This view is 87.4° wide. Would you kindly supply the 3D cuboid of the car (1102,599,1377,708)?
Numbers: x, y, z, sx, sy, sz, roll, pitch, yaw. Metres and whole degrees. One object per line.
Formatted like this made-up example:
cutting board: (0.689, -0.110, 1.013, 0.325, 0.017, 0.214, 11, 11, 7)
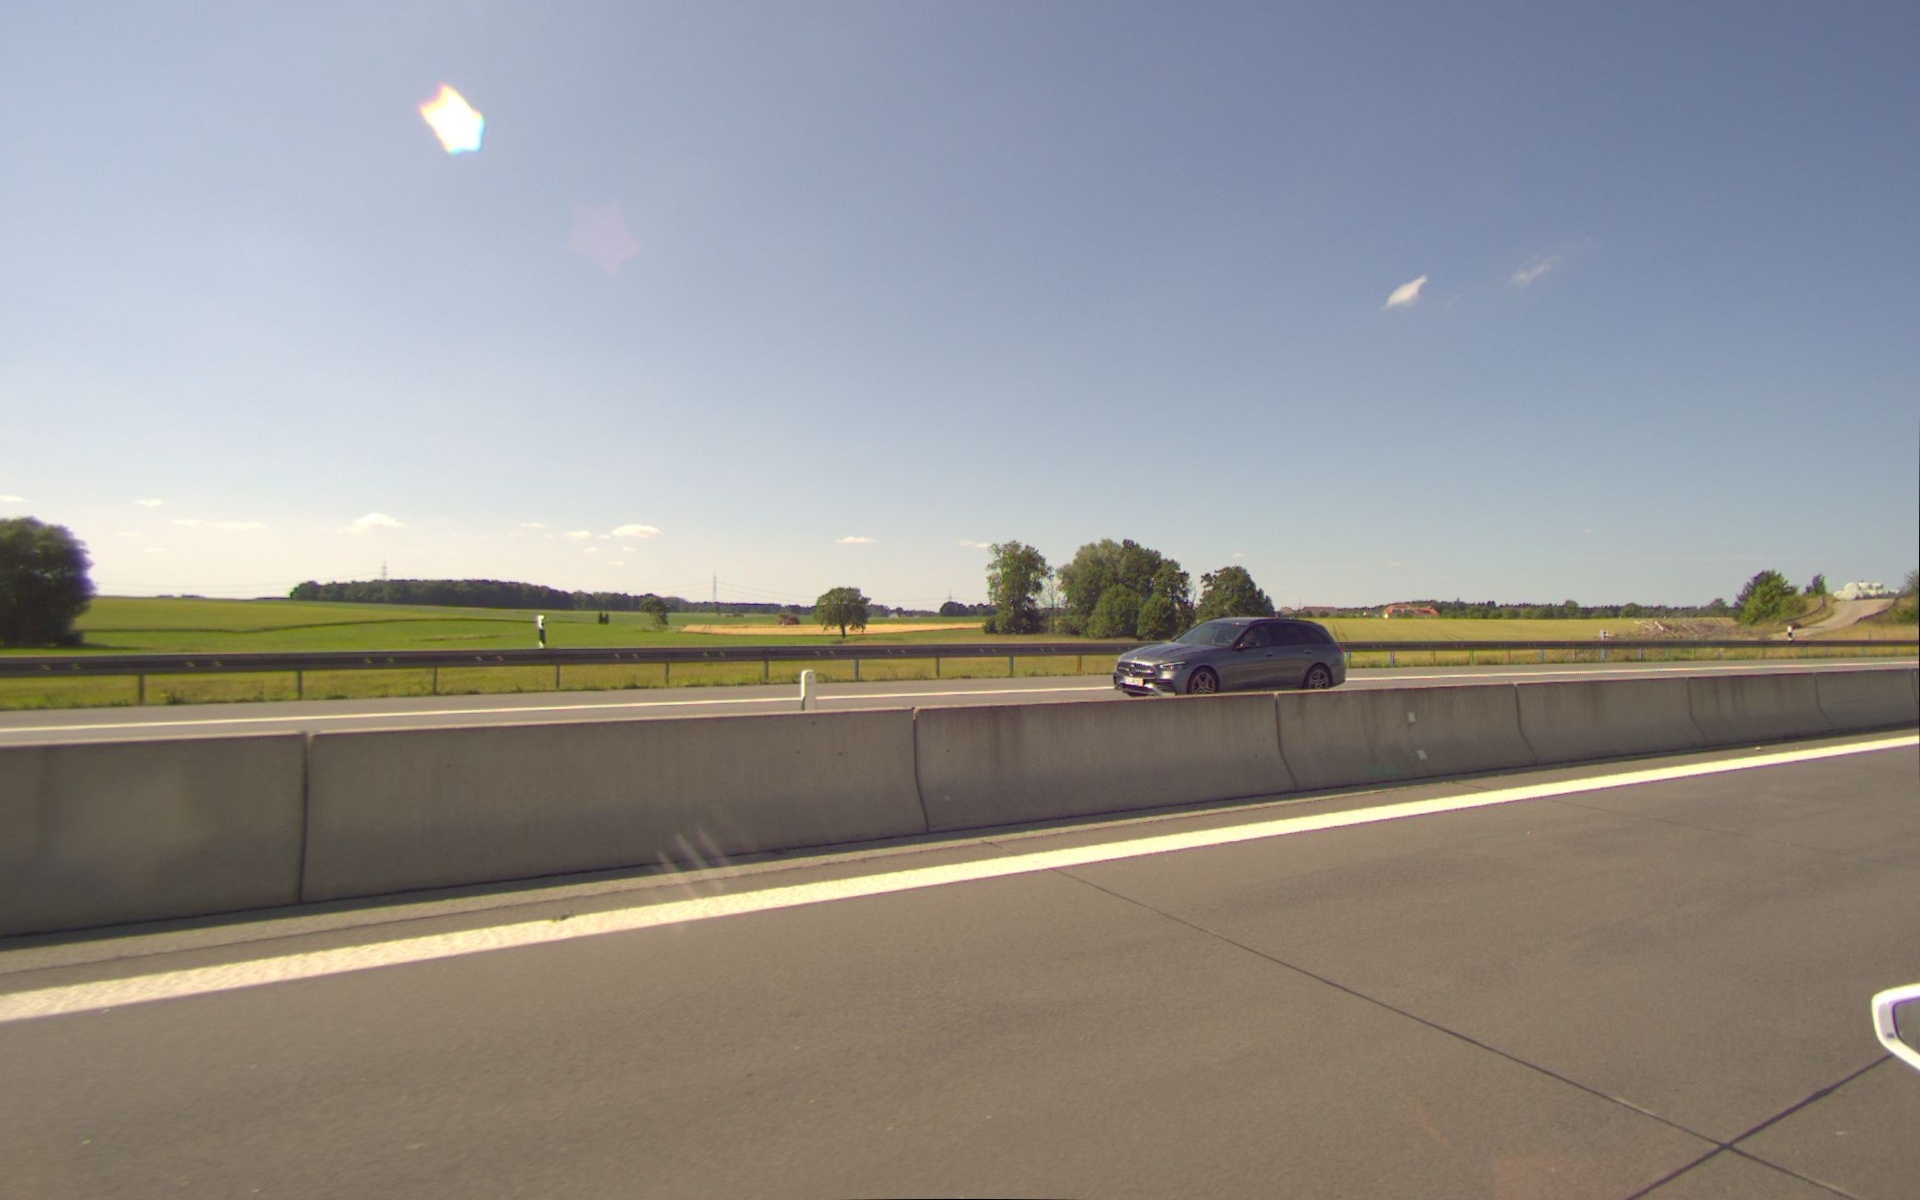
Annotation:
car: (5.146, 0.879, 18.308, 4.947, 1.708, 1.898, 0, 2, -30)
